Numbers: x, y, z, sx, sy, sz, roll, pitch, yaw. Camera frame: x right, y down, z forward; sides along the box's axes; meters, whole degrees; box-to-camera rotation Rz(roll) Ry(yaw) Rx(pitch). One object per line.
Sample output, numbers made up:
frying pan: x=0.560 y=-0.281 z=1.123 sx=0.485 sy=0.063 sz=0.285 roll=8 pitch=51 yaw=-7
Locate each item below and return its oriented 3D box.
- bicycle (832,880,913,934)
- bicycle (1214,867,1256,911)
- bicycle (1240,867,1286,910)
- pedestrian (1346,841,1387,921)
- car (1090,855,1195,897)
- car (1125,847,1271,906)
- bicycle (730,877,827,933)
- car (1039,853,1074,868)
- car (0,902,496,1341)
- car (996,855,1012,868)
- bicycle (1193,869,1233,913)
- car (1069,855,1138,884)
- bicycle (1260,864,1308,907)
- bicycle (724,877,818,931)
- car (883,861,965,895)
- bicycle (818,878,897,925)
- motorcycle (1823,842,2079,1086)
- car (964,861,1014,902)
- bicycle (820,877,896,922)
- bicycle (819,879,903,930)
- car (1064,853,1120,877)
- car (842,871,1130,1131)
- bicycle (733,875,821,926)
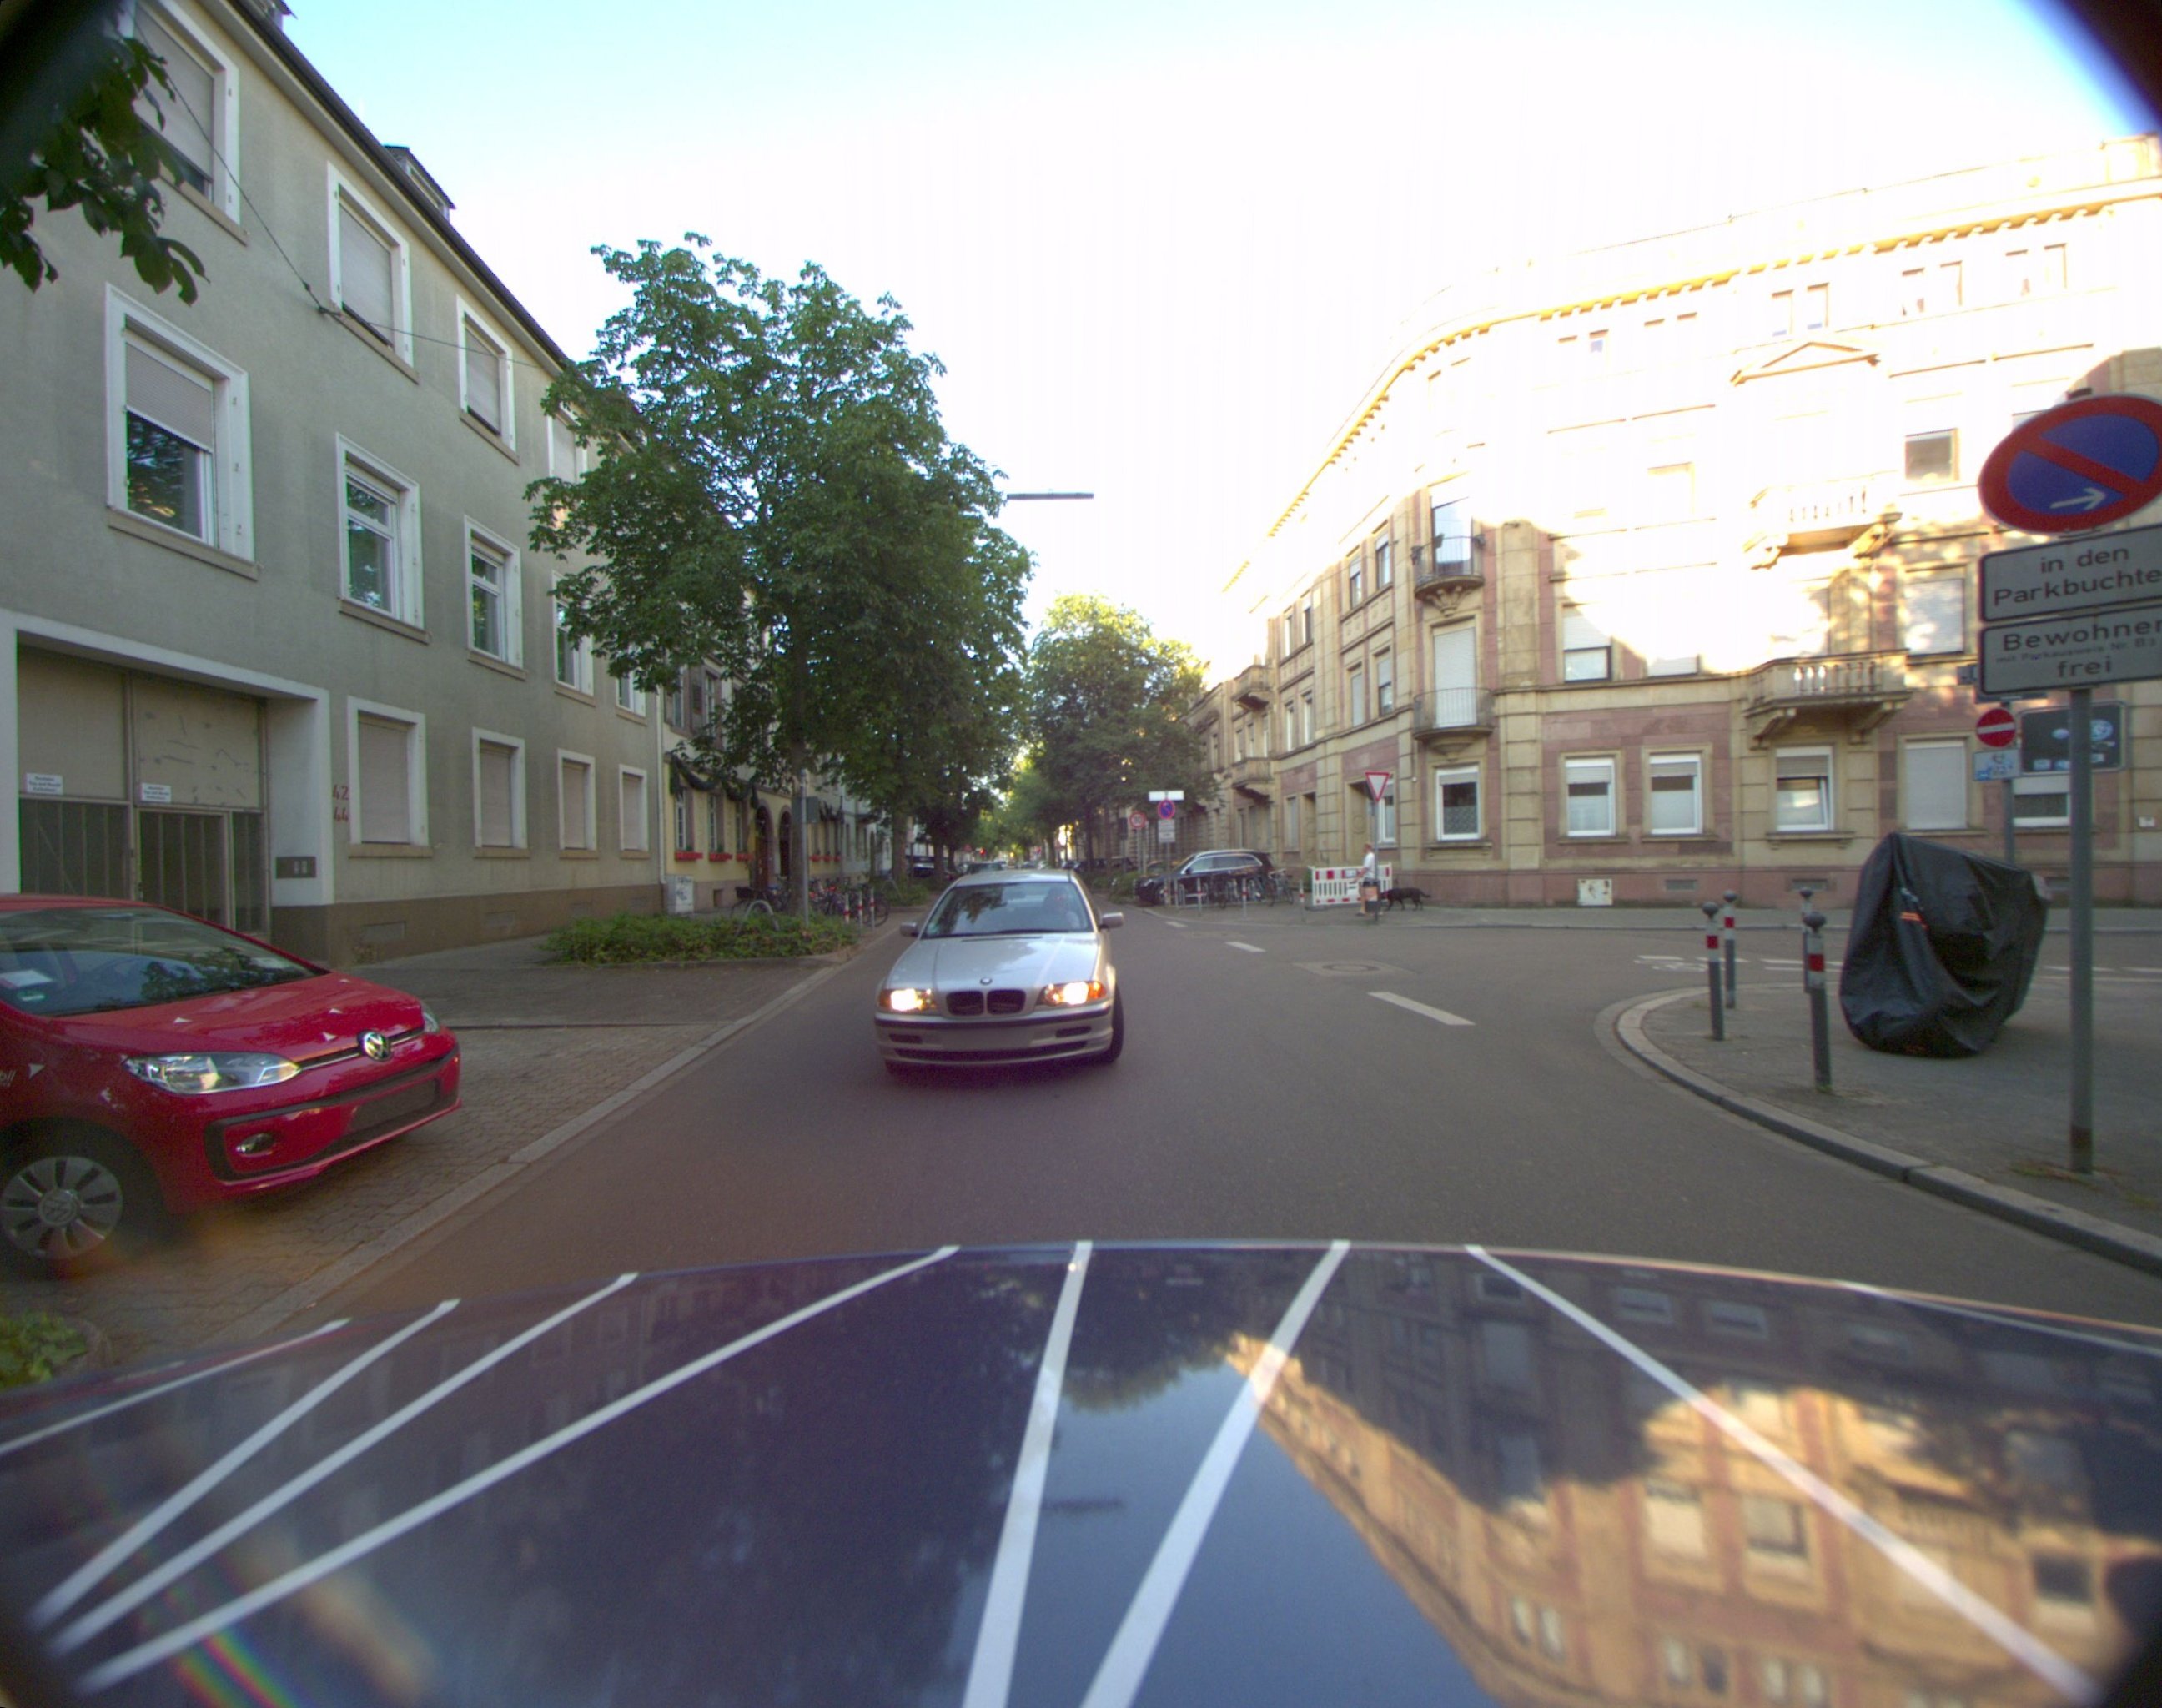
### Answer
bicycle: x=-5.037 y=1.260 z=18.400 sx=1.849 sy=1.220 sz=0.535 roll=-1 pitch=0 yaw=-16
bicycle: x=4.382 y=0.982 z=21.731 sx=0.562 sy=1.144 sz=2.038 roll=-1 pitch=0 yaw=-6
bicycle: x=5.175 y=0.959 z=21.773 sx=0.562 sy=1.144 sz=2.038 roll=-1 pitch=0 yaw=-8
pedestrian: x=6.560 y=0.611 z=17.455 sx=0.574 sy=1.797 sz=0.649 roll=-2 pitch=1 yaw=-43
car: x=2.528 y=0.911 z=32.090 sx=4.243 sy=1.668 sz=1.742 roll=-1 pitch=0 yaw=-1
car: x=3.724 y=0.711 z=24.653 sx=4.423 sy=1.771 sz=1.742 roll=-1 pitch=0 yaw=-1
bicycle: x=-7.034 y=1.176 z=17.750 sx=2.030 sy=1.220 sz=0.535 roll=-1 pitch=0 yaw=-16
car: x=-2.996 y=0.810 z=92.539 sx=4.245 sy=1.749 sz=1.741 roll=-1 pitch=0 yaw=-5
car: x=-5.163 y=1.047 z=3.422 sx=3.621 sy=1.468 sz=1.663 roll=-1 pitch=0 yaw=-7
car: x=-9.138 y=0.894 z=90.815 sx=1.806 sy=1.543 sz=3.998 roll=-1 pitch=0 yaw=-5
bicycle: x=3.743 y=1.026 z=21.663 sx=0.562 sy=1.144 sz=2.038 roll=-1 pitch=0 yaw=-6
car: x=1.405 y=0.958 z=48.383 sx=4.245 sy=1.749 sz=1.741 roll=-1 pitch=0 yaw=-5
bicycle: x=5.794 y=0.879 z=21.823 sx=0.562 sy=1.144 sz=2.038 roll=-1 pitch=0 yaw=-8
bicycle: x=-7.494 y=1.186 z=18.453 sx=2.030 sy=1.220 sz=0.535 roll=-1 pitch=0 yaw=-16
car: x=-8.558 y=1.279 z=41.671 sx=4.245 sy=1.729 sz=1.741 roll=-1 pitch=0 yaw=-6
bicycle: x=-6.128 y=1.290 z=20.921 sx=2.029 sy=1.220 sz=0.535 roll=-1 pitch=0 yaw=-11
motorcycle: x=6.498 y=0.678 z=5.640 sx=2.286 sy=1.496 sz=0.816 roll=-1 pitch=1 yaw=-30
car: x=-3.757 y=1.077 z=31.659 sx=1.806 sy=1.543 sz=3.998 roll=-1 pitch=0 yaw=-4
bicycle: x=-6.369 y=1.290 z=21.791 sx=2.029 sy=1.220 sz=0.535 roll=-1 pitch=0 yaw=-11
bicycle: x=-5.661 y=1.286 z=19.640 sx=2.029 sy=1.220 sz=0.535 roll=-1 pitch=0 yaw=-11
car: x=0.857 y=0.867 z=60.854 sx=4.245 sy=1.749 sz=1.741 roll=-1 pitch=0 yaw=-5
car: x=-0.544 y=0.944 z=6.820 sx=1.711 sy=1.433 sz=4.436 roll=-1 pitch=0 yaw=1
bicycle: x=-7.815 y=1.186 z=19.599 sx=2.029 sy=1.220 sz=0.535 roll=-1 pitch=0 yaw=-13
